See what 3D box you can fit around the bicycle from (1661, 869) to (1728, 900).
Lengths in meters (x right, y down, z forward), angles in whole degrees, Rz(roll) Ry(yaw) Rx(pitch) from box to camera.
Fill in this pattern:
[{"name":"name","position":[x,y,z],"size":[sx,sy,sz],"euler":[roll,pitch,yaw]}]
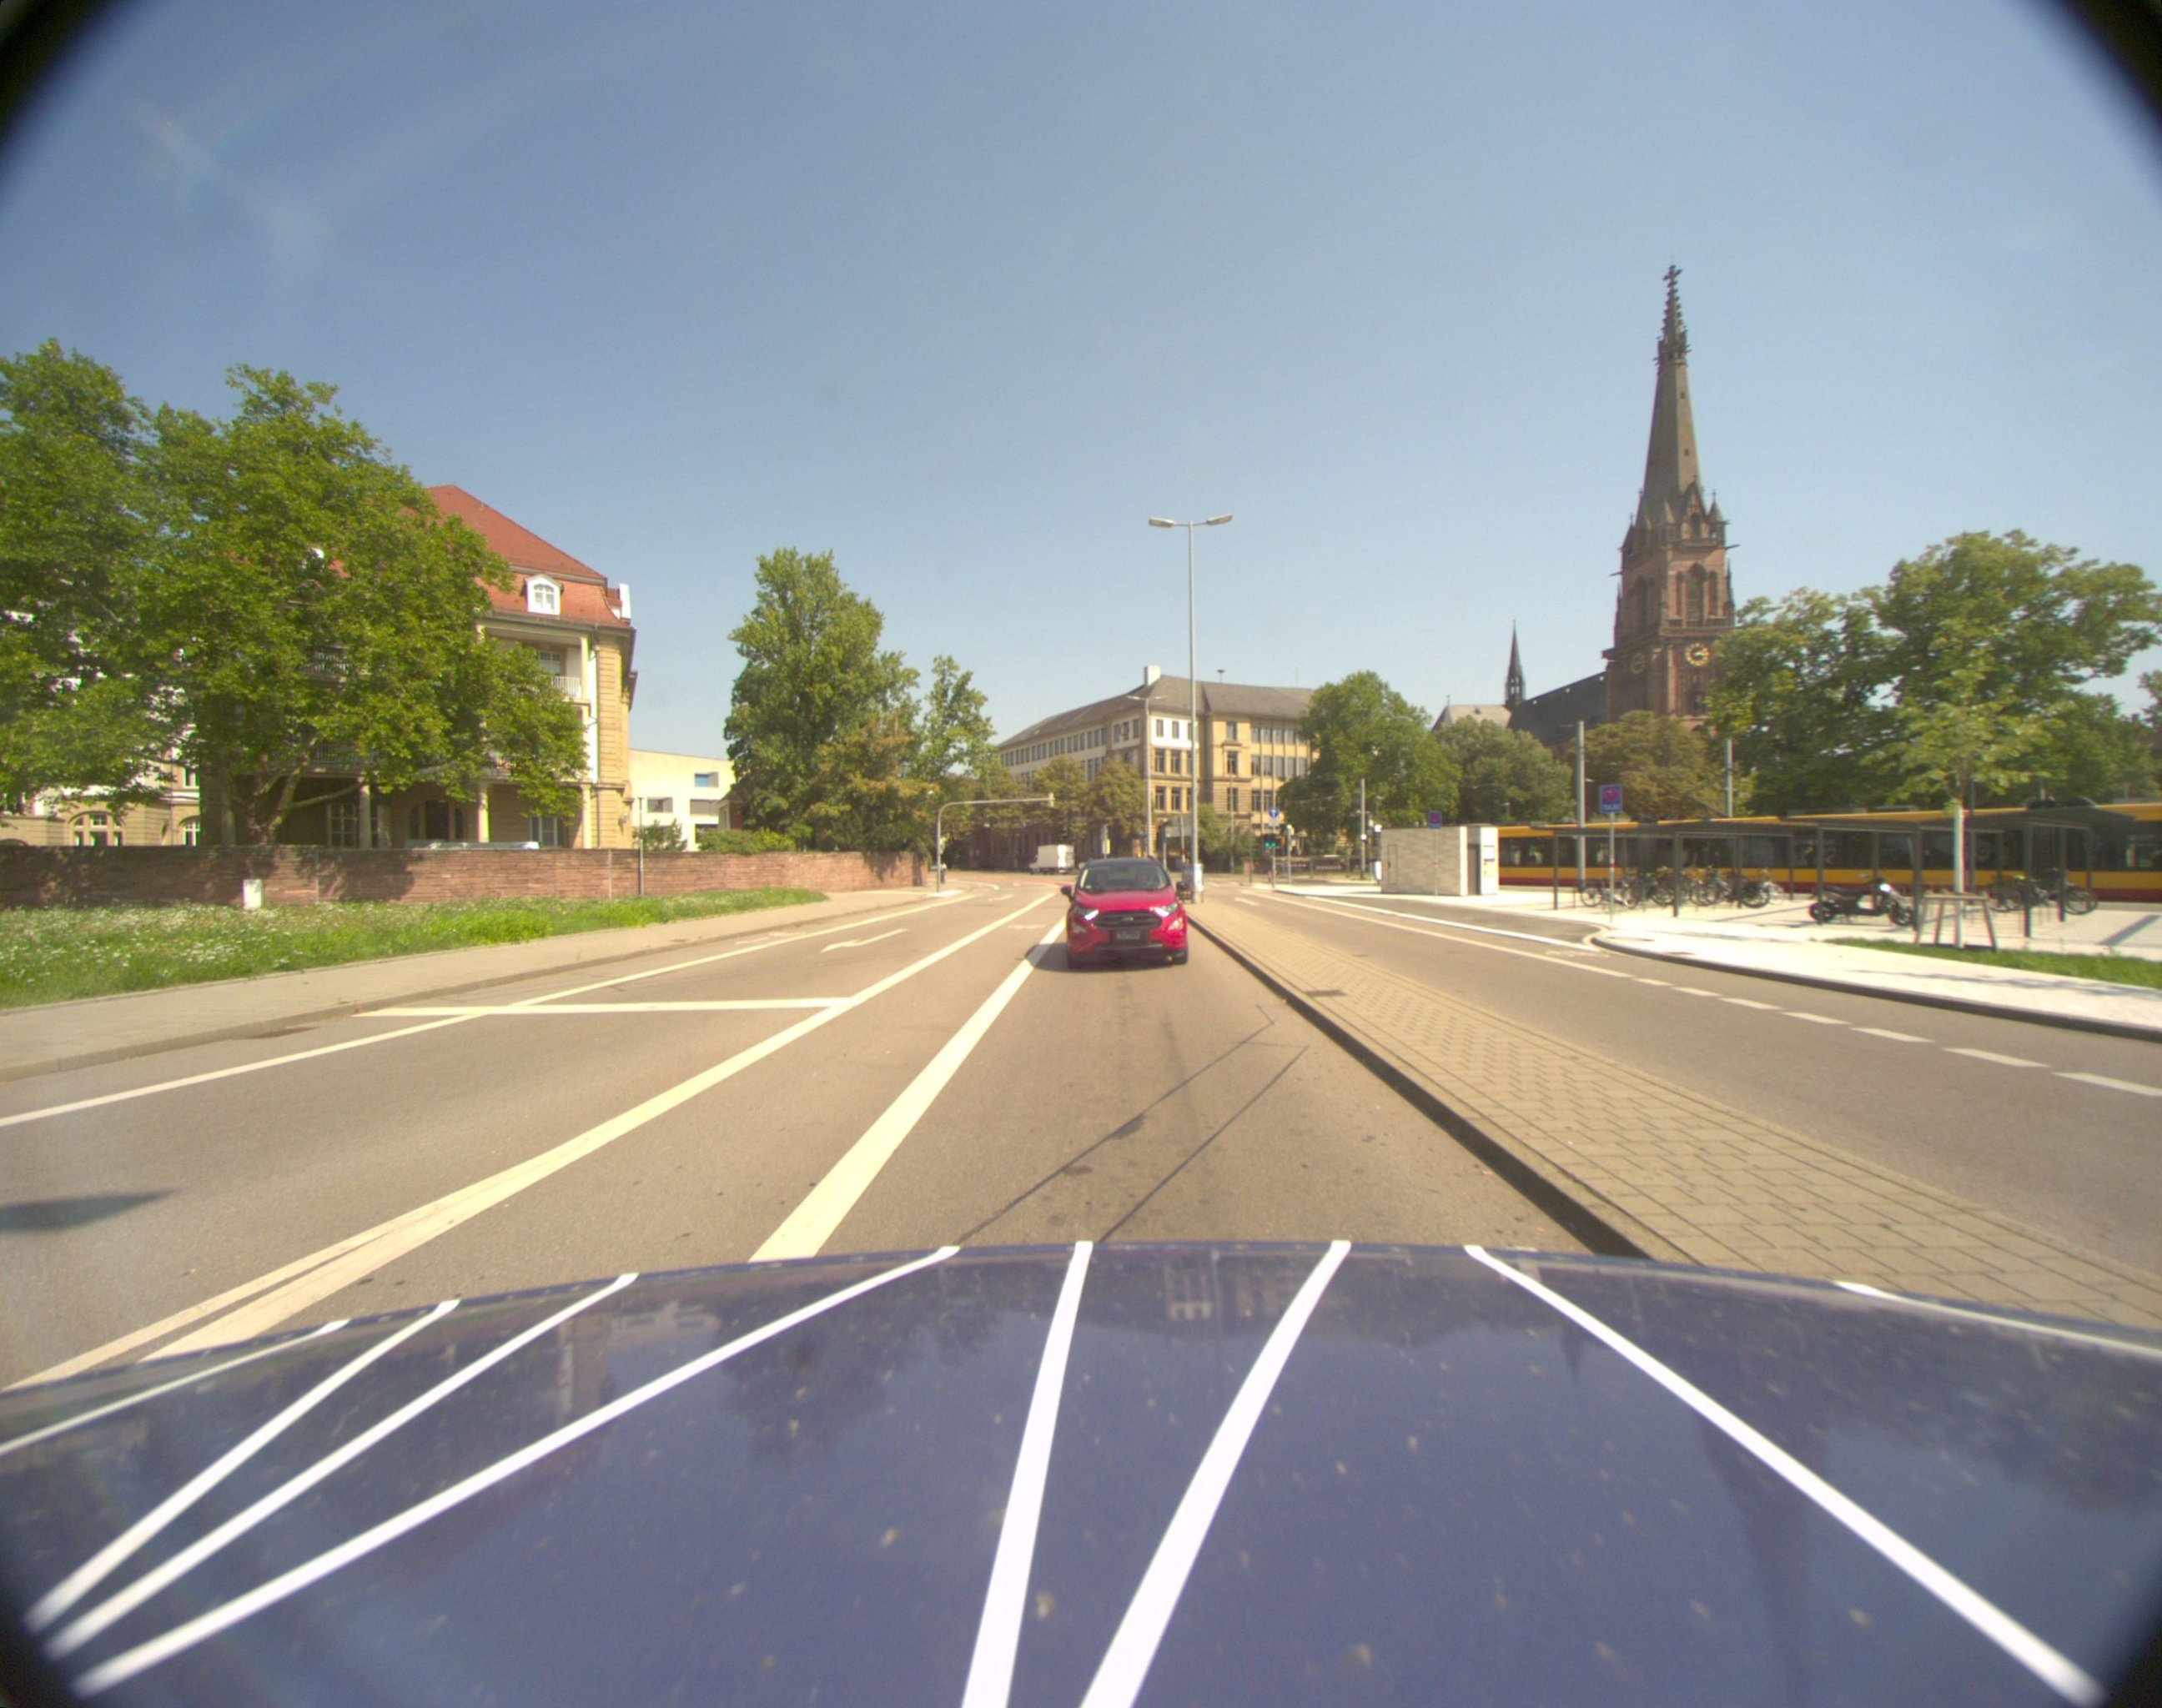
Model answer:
[{"name":"bicycle","position":[21.541,1.038,26.701],"size":[0.528,1.034,1.766],"euler":[0,0,-30]}]

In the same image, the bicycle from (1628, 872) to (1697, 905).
[{"name":"bicycle","position":[19.375,1.126,25.353],"size":[0.528,1.034,1.766],"euler":[0,0,-30]}]

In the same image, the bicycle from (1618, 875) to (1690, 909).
[{"name":"bicycle","position":[18.221,1.190,24.191],"size":[0.528,1.034,1.766],"euler":[0,0,-30]}]

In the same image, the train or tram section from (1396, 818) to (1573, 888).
[{"name":"train or tram section","position":[22.378,0.062,42.719],"size":[3.144,3.539,8.308],"euler":[1,-1,-32]}]

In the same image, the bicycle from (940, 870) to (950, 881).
[{"name":"bicycle","position":[-10.625,1.675,59.384],"size":[0.437,0.807,1.486],"euler":[0,0,0]}]

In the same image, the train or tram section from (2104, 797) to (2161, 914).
[{"name":"train or tram section","position":[35.916,0.000,21.395],"size":[3.167,3.576,8.226],"euler":[0,-1,-32]}]

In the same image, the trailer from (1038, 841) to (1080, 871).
[{"name":"trailer","position":[-2.521,0.259,85.535],"size":[2.446,3.269,5.076],"euler":[-1,0,-32]}]

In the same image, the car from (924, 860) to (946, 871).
[{"name":"car","position":[-21.593,1.662,112.248],"size":[1.891,1.586,3.990],"euler":[0,0,-32]}]

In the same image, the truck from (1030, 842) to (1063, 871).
[{"name":"truck","position":[-3.973,0.269,87.817],"size":[2.434,3.269,3.418],"euler":[-1,0,-33]}]

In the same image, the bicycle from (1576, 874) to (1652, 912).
[{"name":"bicycle","position":[16.244,1.176,23.201],"size":[0.528,1.075,1.861],"euler":[0,0,-30]}]

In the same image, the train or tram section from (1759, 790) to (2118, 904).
[{"name":"train or tram section","position":[31.445,-0.128,28.438],"size":[3.167,3.576,8.506],"euler":[0,-1,-32]}]

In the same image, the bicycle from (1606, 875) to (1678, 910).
[{"name":"bicycle","position":[17.595,1.189,23.863],"size":[0.528,1.034,1.766],"euler":[0,0,-30]}]

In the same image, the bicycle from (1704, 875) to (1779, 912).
[{"name":"bicycle","position":[19.680,1.148,22.671],"size":[0.413,1.034,1.637],"euler":[0,0,-30]}]

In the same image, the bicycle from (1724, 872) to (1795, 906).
[{"name":"bicycle","position":[21.671,1.104,24.292],"size":[0.413,1.034,1.637],"euler":[0,0,-30]}]

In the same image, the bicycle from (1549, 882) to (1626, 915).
[{"name":"bicycle","position":[15.110,1.312,22.711],"size":[0.492,0.878,1.894],"euler":[0,0,-30]}]

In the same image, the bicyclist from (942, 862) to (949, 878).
[{"name":"bicyclist","position":[-10.630,1.252,59.406],"size":[0.433,1.226,0.540],"euler":[-1,1,0]}]

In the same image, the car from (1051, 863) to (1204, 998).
[{"name":"car","position":[0.670,0.987,11.548],"size":[1.844,1.605,4.001],"euler":[-3,0,2]}]

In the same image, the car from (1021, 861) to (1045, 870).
[{"name":"car","position":[-6.415,1.474,101.788],"size":[3.064,1.169,1.248],"euler":[0,0,-37]}]

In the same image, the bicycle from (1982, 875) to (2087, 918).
[{"name":"bicycle","position":[24.523,1.068,19.576],"size":[0.413,1.034,1.637],"euler":[0,0,-30]}]

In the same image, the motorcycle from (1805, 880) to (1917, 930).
[{"name":"motorcycle","position":[18.374,1.180,17.942],"size":[0.492,1.062,1.775],"euler":[0,0,-30]}]

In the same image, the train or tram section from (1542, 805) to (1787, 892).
[{"name":"train or tram section","position":[26.897,-0.114,35.614],"size":[3.167,3.576,8.506],"euler":[0,-1,-32]}]

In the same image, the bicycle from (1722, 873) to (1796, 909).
[{"name":"bicycle","position":[20.660,1.106,23.195],"size":[0.413,1.034,1.637],"euler":[0,0,-30]}]

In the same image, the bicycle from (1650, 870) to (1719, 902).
[{"name":"bicycle","position":[20.625,1.077,25.995],"size":[0.528,1.034,1.766],"euler":[0,0,-30]}]
